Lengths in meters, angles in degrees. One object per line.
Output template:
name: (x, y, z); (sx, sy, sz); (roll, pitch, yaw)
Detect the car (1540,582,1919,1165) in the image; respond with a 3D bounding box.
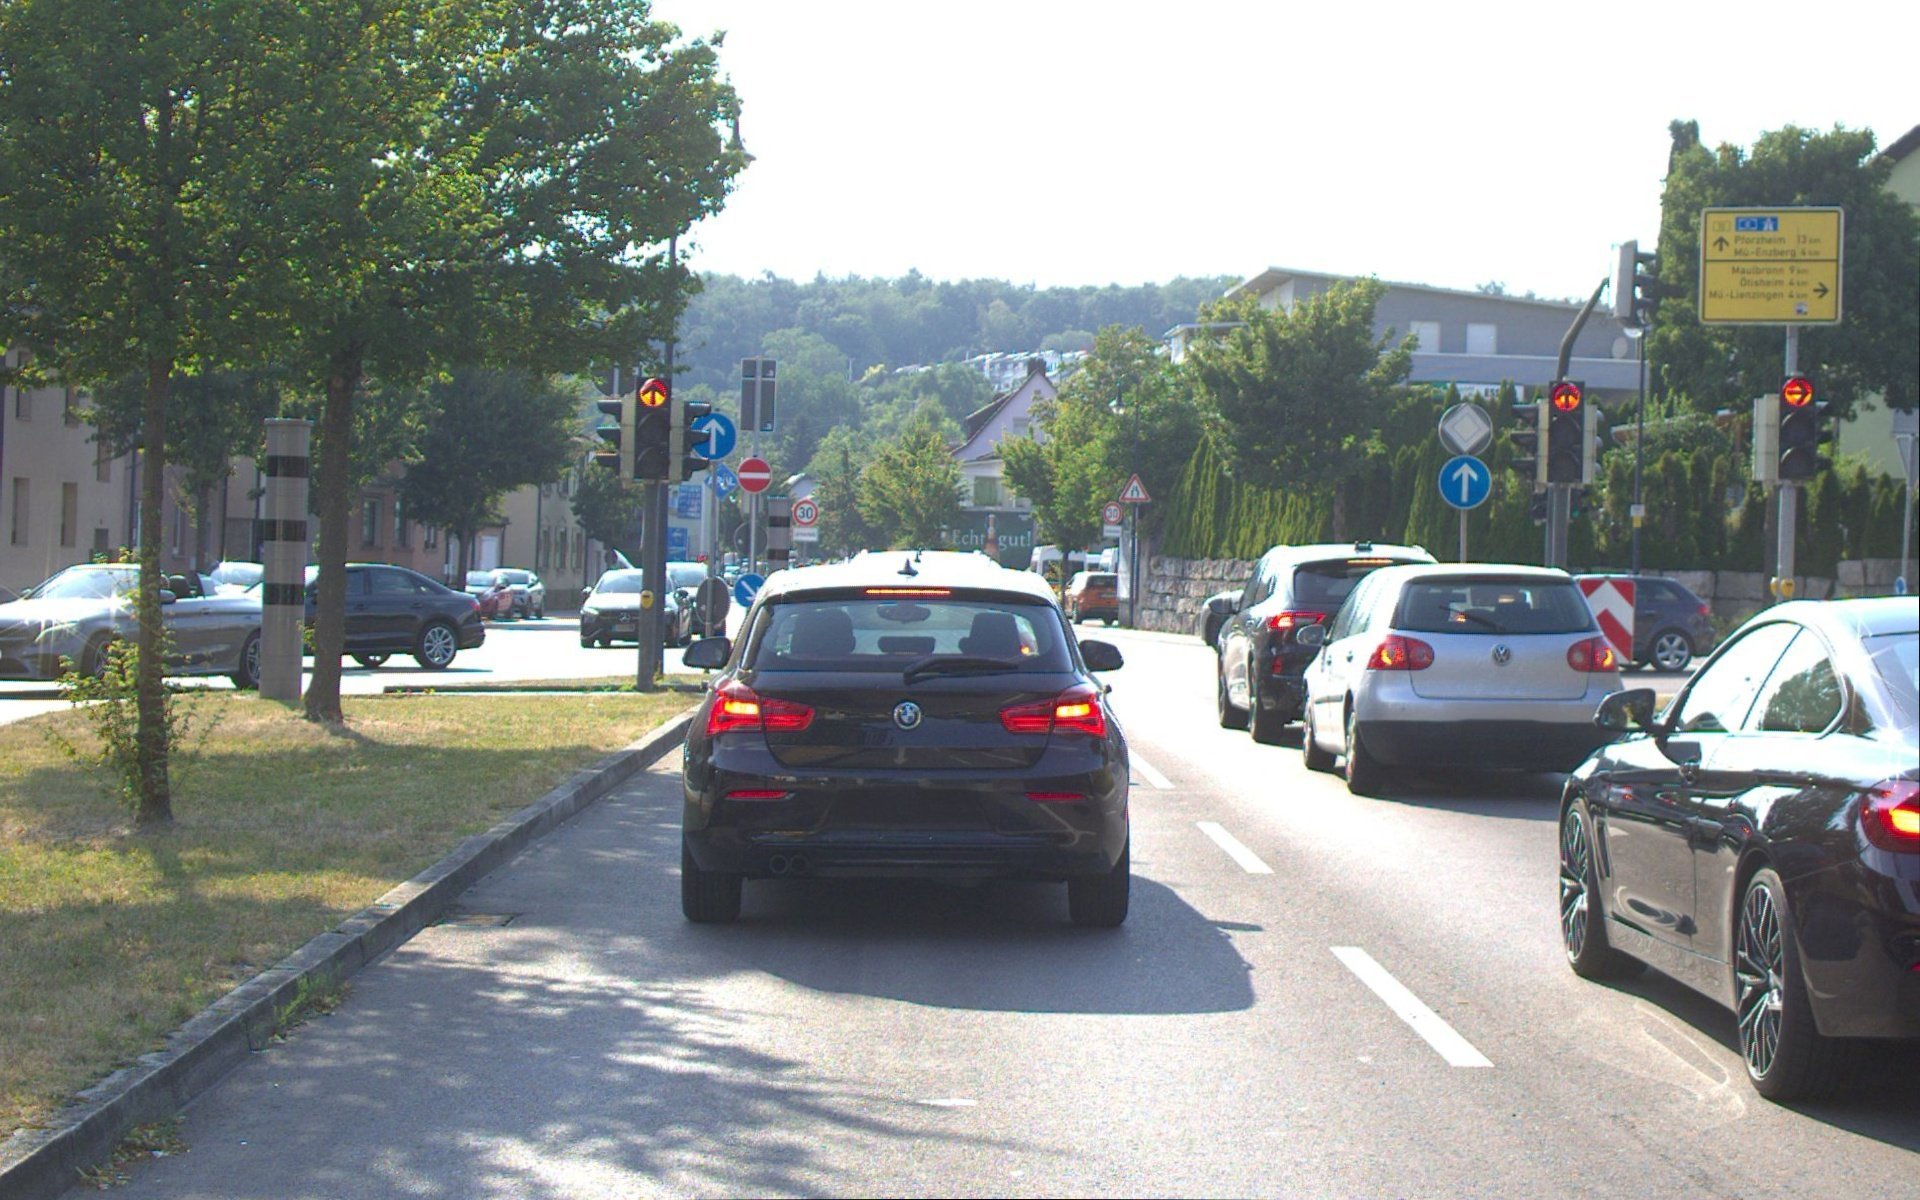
car: (3.046, 0.667, 10.553); (1.816, 1.384, 4.347); (1, 1, 1)

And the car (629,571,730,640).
car: (-5.823, 0.097, 71.640); (1.693, 1.349, 4.000); (1, 1, 1)

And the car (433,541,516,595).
car: (-14.995, -0.998, 106.330); (1.924, 1.590, 4.000); (1, 1, 1)

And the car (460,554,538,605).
car: (-14.976, -0.686, 111.840); (1.924, 1.590, 4.000); (1, 1, 1)

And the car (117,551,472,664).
car: (-8.945, 0.088, 46.524); (1.847, 1.417, 4.634); (2, 1, 38)

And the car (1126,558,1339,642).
car: (5.103, -0.027, 64.939); (1.861, 1.480, 4.660); (1, 1, -26)

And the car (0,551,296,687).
car: (-9.146, 0.171, 36.920); (1.782, 1.345, 4.473); (1, 1, 22)

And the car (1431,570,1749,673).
car: (8.996, 0.301, 49.280); (4.175, 1.382, 1.650); (1, 1, -4)

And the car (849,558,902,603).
car: (-3.120, -0.733, 127.850); (1.924, 1.590, 4.000); (1, 1, -1)

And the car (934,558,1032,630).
car: (0.536, -0.171, 84.391); (1.890, 1.696, 4.525); (0, 1, -6)

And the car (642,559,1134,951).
car: (-0.243, 0.543, 14.817); (1.790, 1.410, 4.347); (1, 1, 1)

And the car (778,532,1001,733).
car: (-0.560, 0.237, 30.475); (1.816, 1.635, 4.242); (1, 1, 1)

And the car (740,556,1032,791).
car: (-0.445, 0.436, 23.711); (1.816, 1.446, 4.242); (1, 1, 1)

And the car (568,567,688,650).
car: (-6.159, 0.141, 64.111); (1.766, 1.453, 4.000); (1, 1, 1)

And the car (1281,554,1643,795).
car: (3.259, 0.425, 23.108); (1.816, 1.441, 4.347); (1, 1, 1)

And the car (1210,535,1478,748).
car: (3.199, 0.297, 29.398); (1.816, 1.660, 4.347); (1, 1, 1)
